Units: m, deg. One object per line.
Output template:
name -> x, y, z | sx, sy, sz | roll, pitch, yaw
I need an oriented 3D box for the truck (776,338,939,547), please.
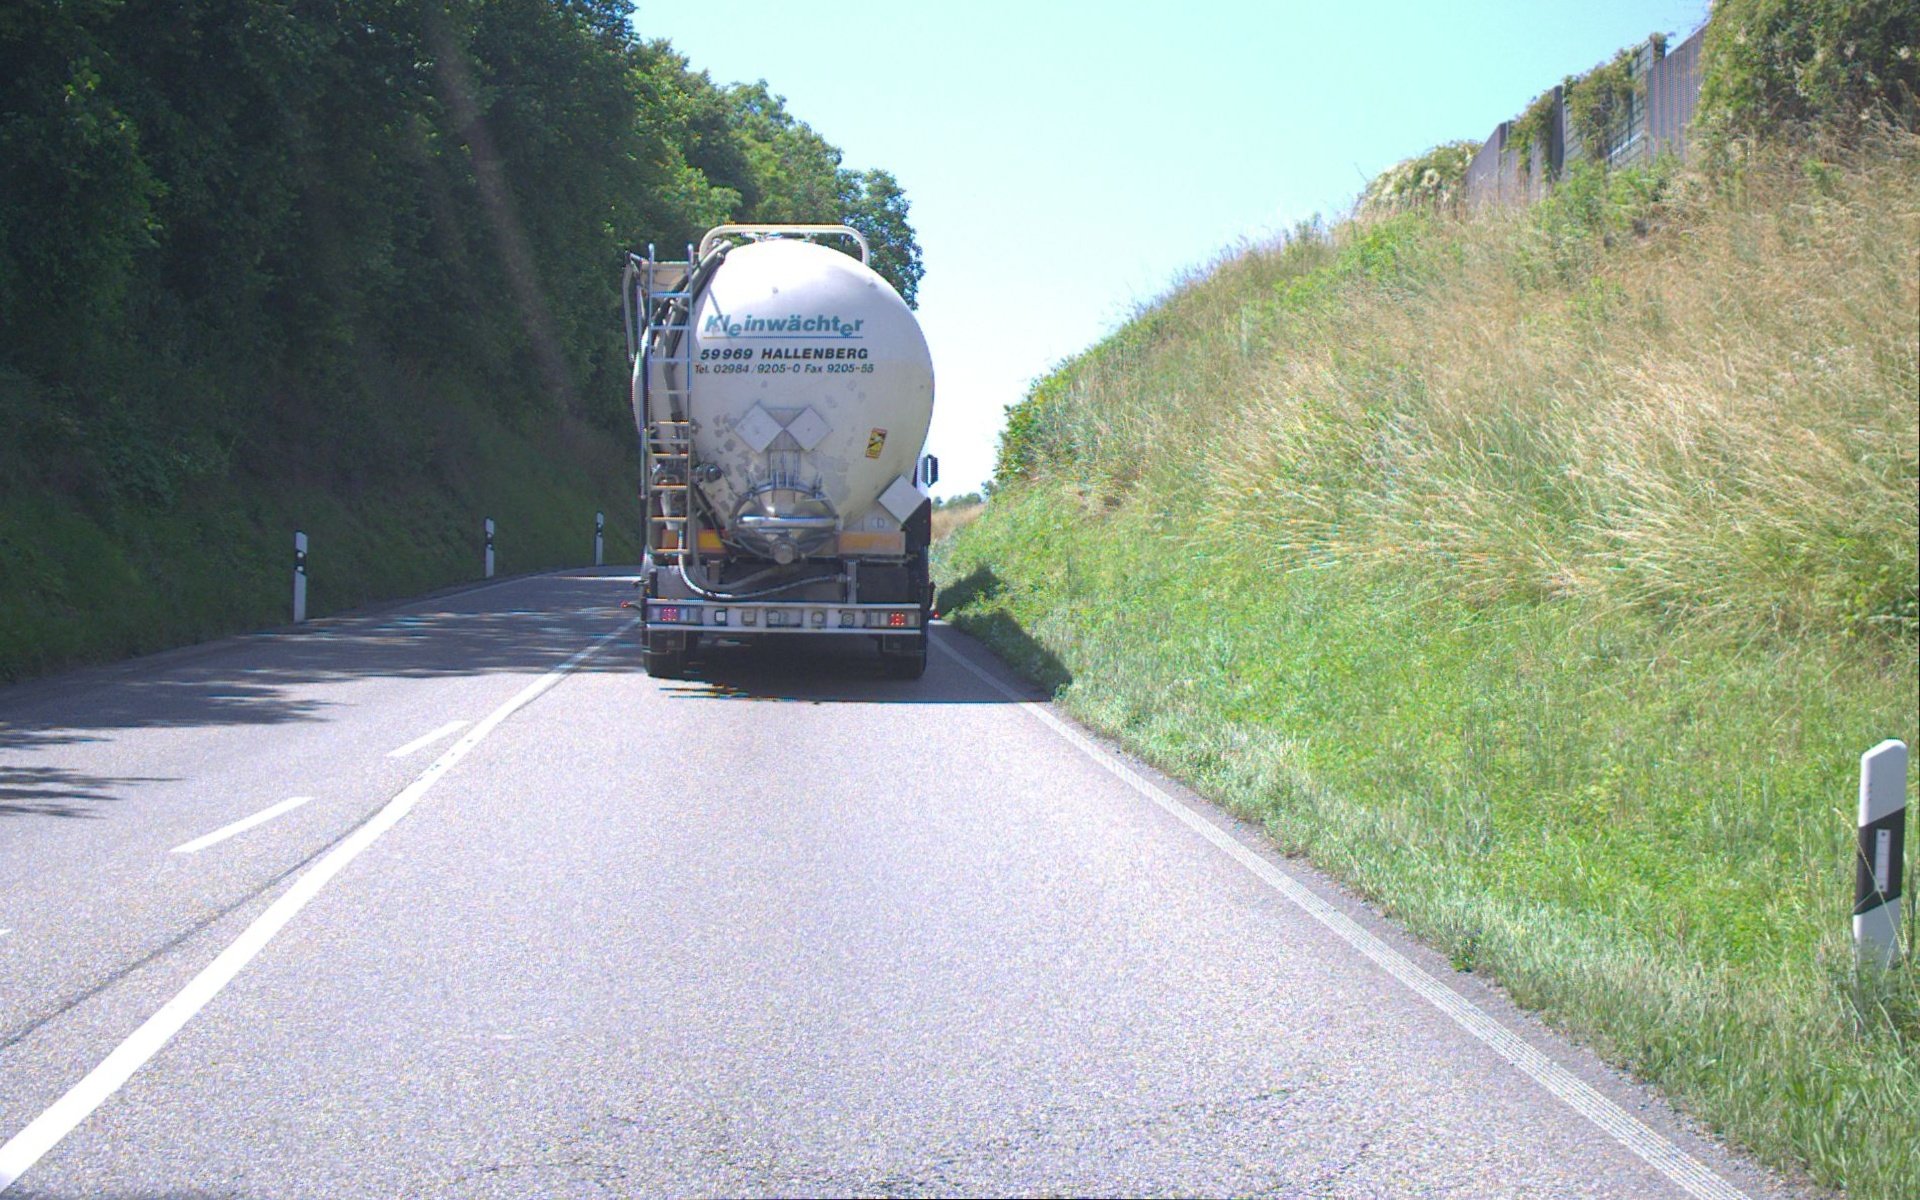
truck -> -2.277, -3.593, 80.950 | 3.190, 4.294, 11.801 | 5, 1, 0

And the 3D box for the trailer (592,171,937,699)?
trailer -> -1.690, -1.563, 33.698 | 2.661, 4.174, 11.906 | 2, 2, -1

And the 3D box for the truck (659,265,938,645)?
truck -> -1.719, -1.599, 39.705 | 2.727, 3.916, 7.263 | 1, 1, 1
